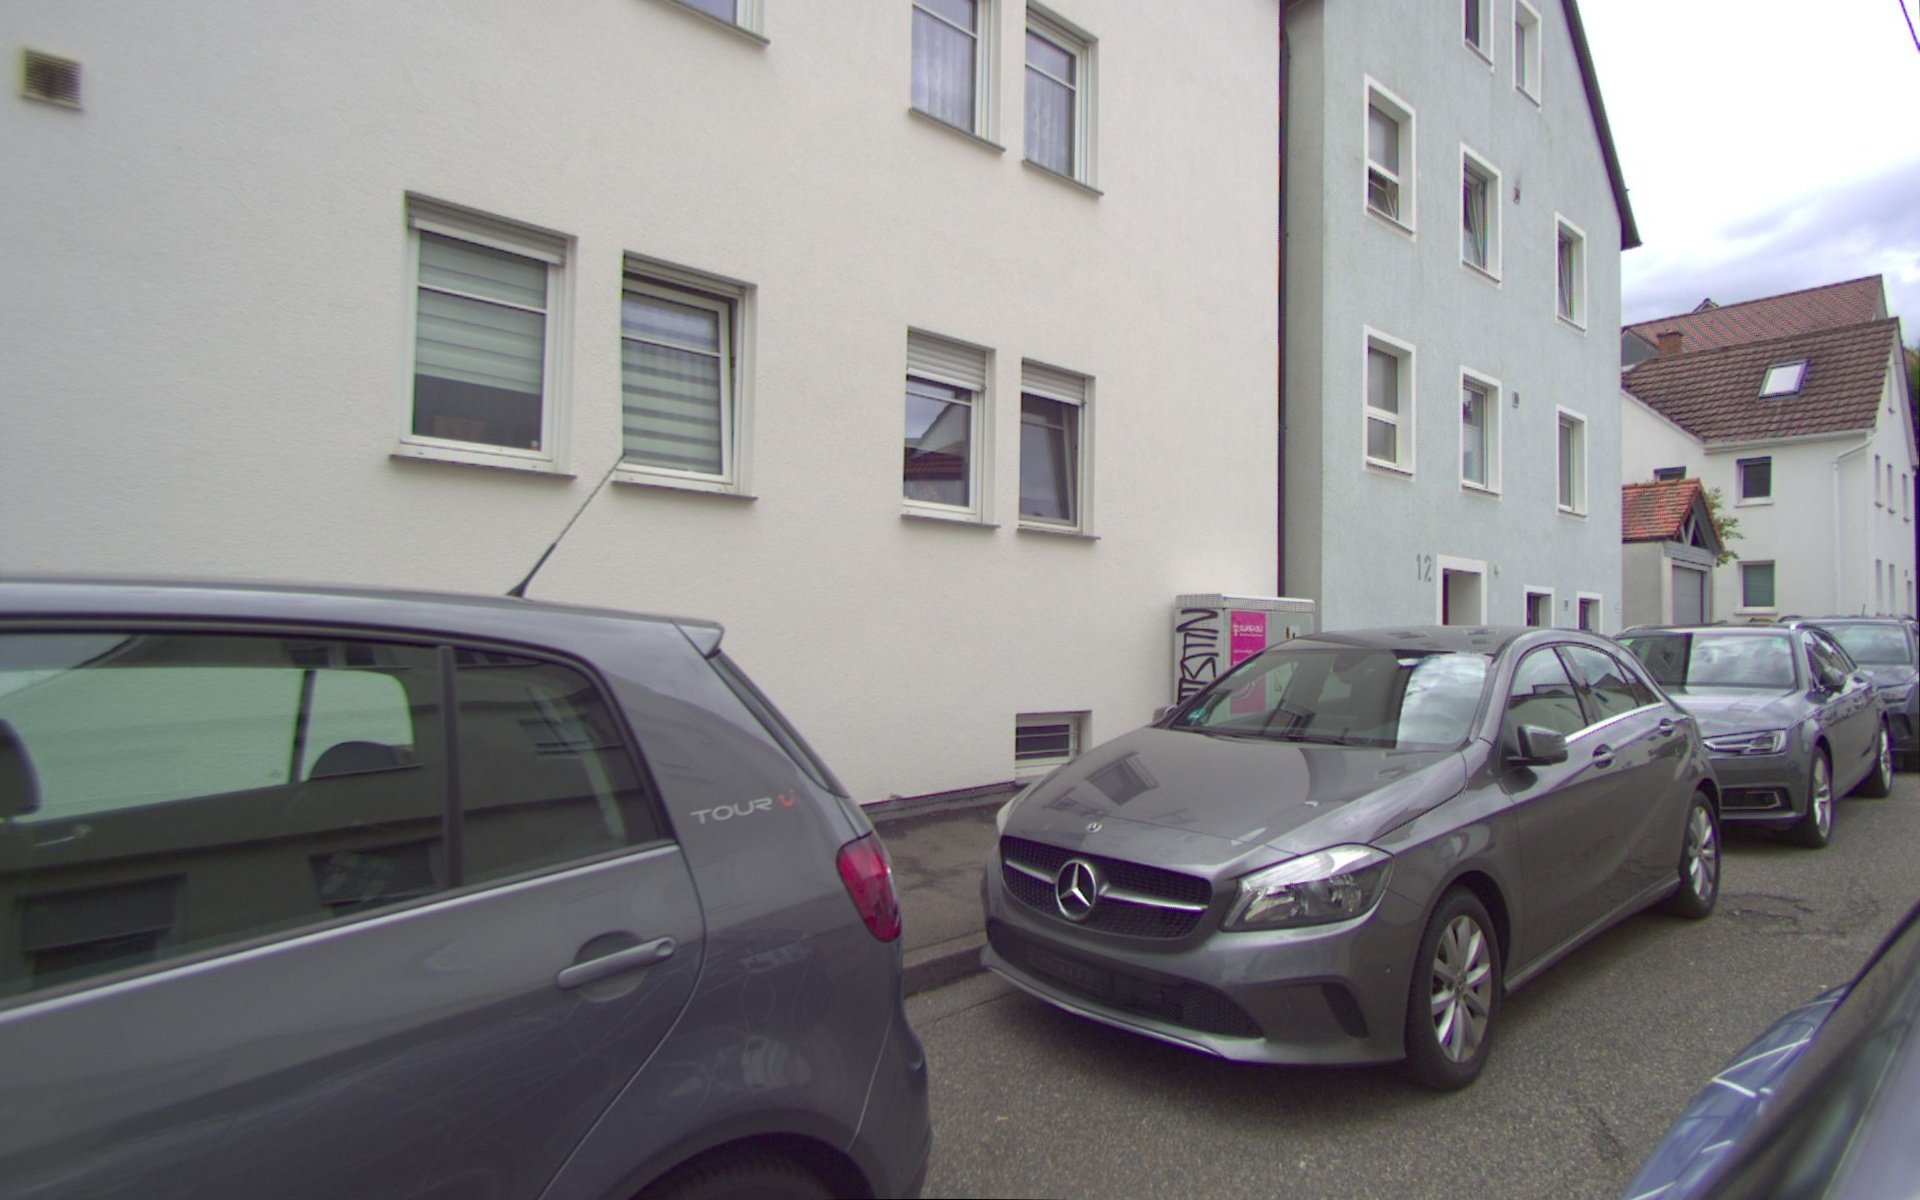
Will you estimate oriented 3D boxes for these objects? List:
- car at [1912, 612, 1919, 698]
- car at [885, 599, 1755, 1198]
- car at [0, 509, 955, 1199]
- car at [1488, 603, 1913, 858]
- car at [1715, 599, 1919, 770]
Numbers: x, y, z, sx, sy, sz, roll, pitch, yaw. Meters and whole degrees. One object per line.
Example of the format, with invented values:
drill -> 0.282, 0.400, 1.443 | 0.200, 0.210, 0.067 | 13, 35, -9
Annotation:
car -> 19.619, 1.013, 19.212 | 3.968, 1.583, 1.769 | 2, -3, -41
car -> 1.795, 0.772, 4.459 | 3.887, 1.461, 1.811 | 0, -2, -39
car -> -2.009, 0.735, 1.249 | 3.842, 1.584, 1.736 | 0, -3, -43
car -> 5.896, 0.812, 7.860 | 4.190, 1.462, 1.728 | 1, -3, -41
car -> 9.634, 0.816, 10.822 | 3.772, 1.532, 1.641 | 2, -3, -40
